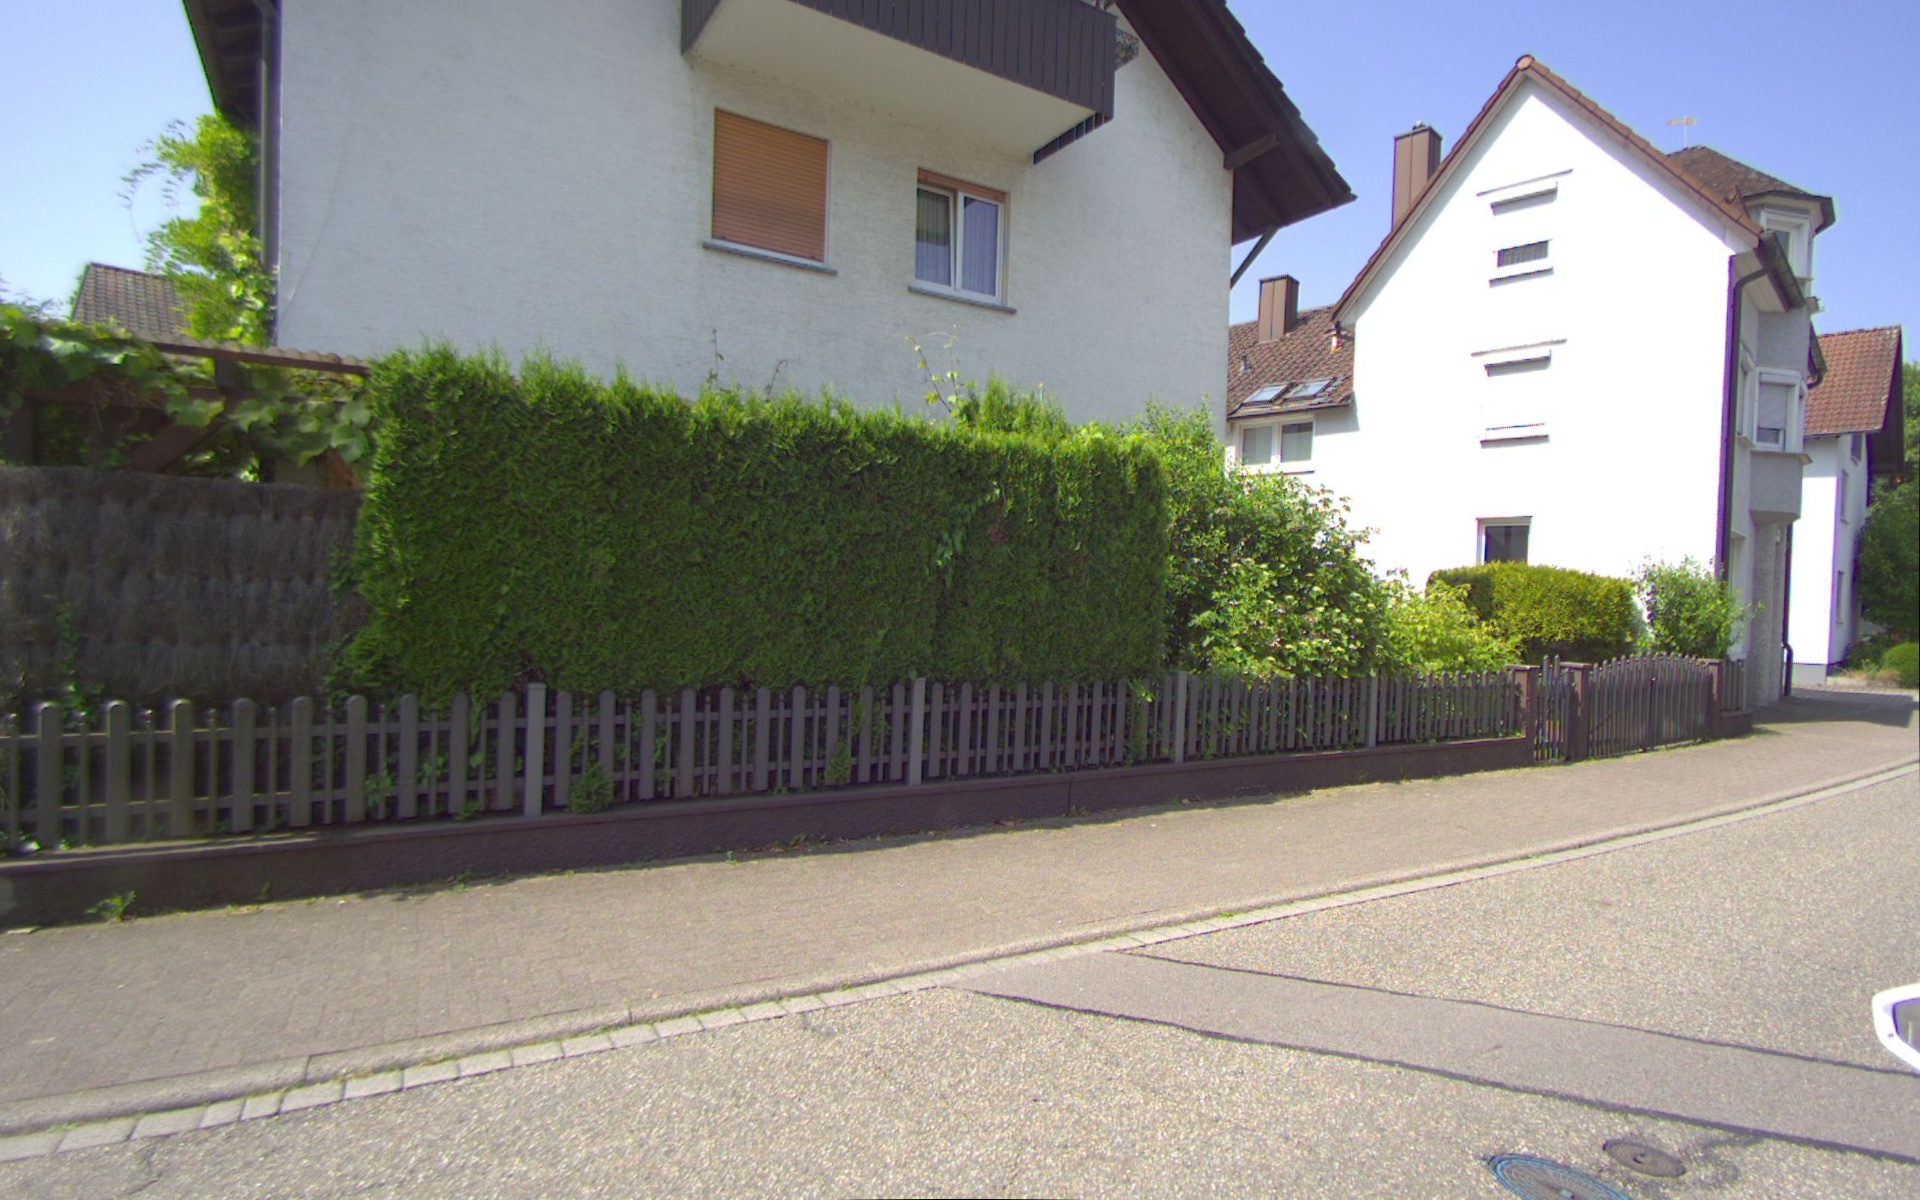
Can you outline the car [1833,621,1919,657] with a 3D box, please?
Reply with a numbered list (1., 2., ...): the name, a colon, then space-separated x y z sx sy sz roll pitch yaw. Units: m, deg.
1. car: 43.673 1.811 47.000 1.761 1.559 4.121 1 -1 -43
